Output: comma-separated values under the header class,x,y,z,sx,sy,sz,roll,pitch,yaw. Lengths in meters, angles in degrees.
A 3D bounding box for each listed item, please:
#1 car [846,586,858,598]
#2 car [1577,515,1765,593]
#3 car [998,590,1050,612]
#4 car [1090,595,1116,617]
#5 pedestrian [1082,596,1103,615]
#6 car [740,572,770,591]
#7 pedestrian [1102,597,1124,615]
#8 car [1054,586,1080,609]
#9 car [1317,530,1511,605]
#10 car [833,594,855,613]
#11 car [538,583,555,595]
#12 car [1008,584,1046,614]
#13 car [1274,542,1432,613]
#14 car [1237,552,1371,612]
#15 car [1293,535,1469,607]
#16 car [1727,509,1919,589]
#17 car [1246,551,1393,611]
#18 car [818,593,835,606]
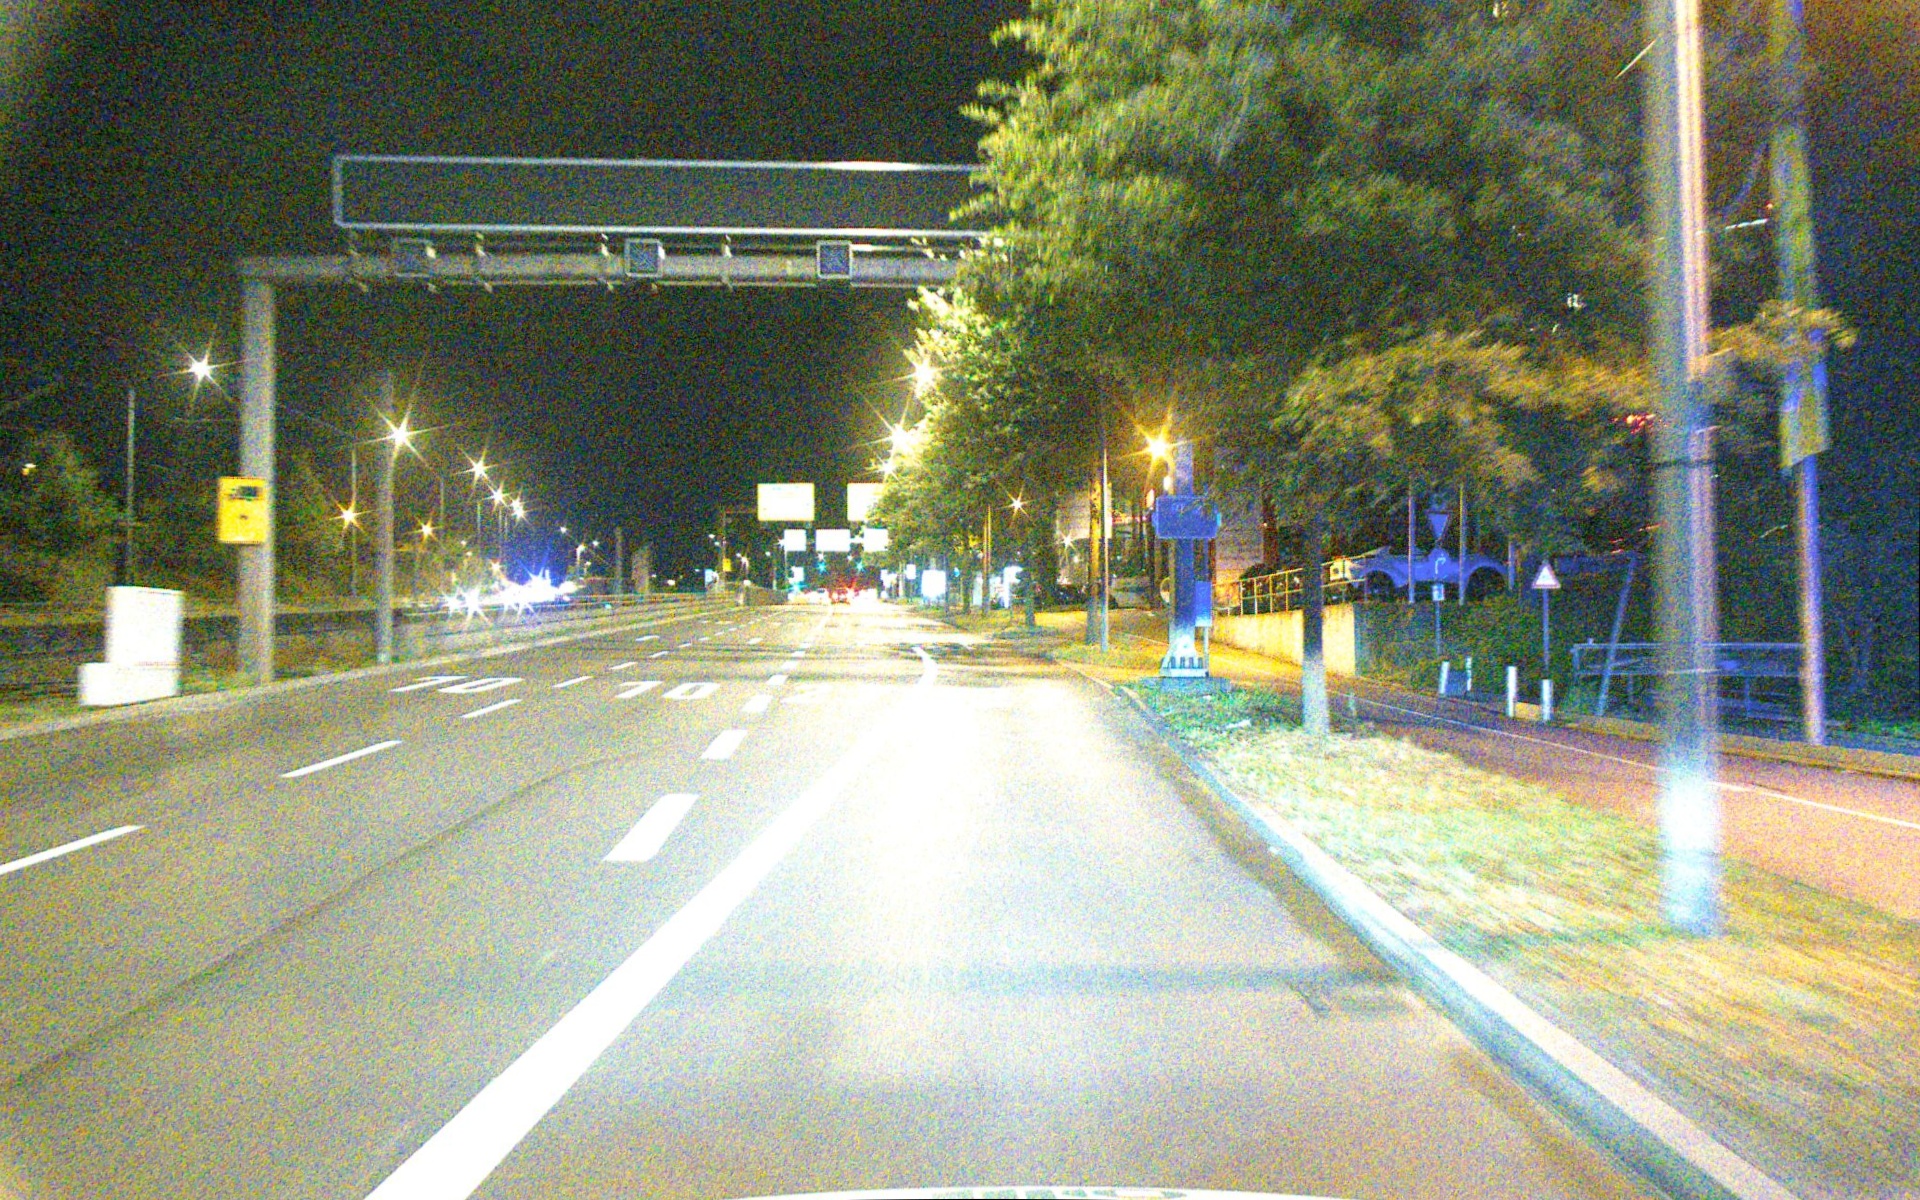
class,x,y,z,sx,sy,sz,roll,pitch,yaw
car,-16.961,-1.214,258.965,1.746,1.758,3.996,1,-2,-4
car,19.266,-1.241,44.909,4.272,1.755,1.750,-4,-1,-2
car,4.714,0.063,121.939,3.556,1.477,1.704,2,-2,-8
car,10.797,0.429,125.217,1.853,1.538,3.637,1,-2,3
pedestrian,7.574,0.324,94.653,0.896,1.057,0.768,-1,-1,39
car,-21.144,-1.921,170.479,1.942,1.741,3.970,2,-2,-24
pedestrian,8.748,0.336,94.686,0.983,1.025,0.767,2,-2,-19
car,7.998,-0.182,123.855,1.853,1.538,3.637,1,-2,3
car,10.729,-0.753,39.242,4.037,1.549,1.821,-2,-2,-3
car,-11.440,0.343,163.335,1.928,1.741,3.998,1,-2,-2
car,-57.482,-1.535,230.072,1.593,1.507,3.676,1,-2,-3
car,4.735,-0.076,116.780,1.951,1.979,4.003,1,-2,13
car,10.473,-0.581,44.217,3.674,1.615,1.778,-3,-2,-5
car,10.186,-0.516,49.102,3.495,1.597,1.723,-2,-1,-8
car,10.547,-0.713,41.581,3.907,1.599,1.737,-2,-1,-3
car,19.608,-1.135,37.508,3.567,1.496,1.637,-4,-2,0
car,10.101,-0.522,46.605,3.653,1.515,1.740,-2,-2,-6
car,-17.541,-0.056,217.537,1.964,1.579,4.293,1,-2,-2
